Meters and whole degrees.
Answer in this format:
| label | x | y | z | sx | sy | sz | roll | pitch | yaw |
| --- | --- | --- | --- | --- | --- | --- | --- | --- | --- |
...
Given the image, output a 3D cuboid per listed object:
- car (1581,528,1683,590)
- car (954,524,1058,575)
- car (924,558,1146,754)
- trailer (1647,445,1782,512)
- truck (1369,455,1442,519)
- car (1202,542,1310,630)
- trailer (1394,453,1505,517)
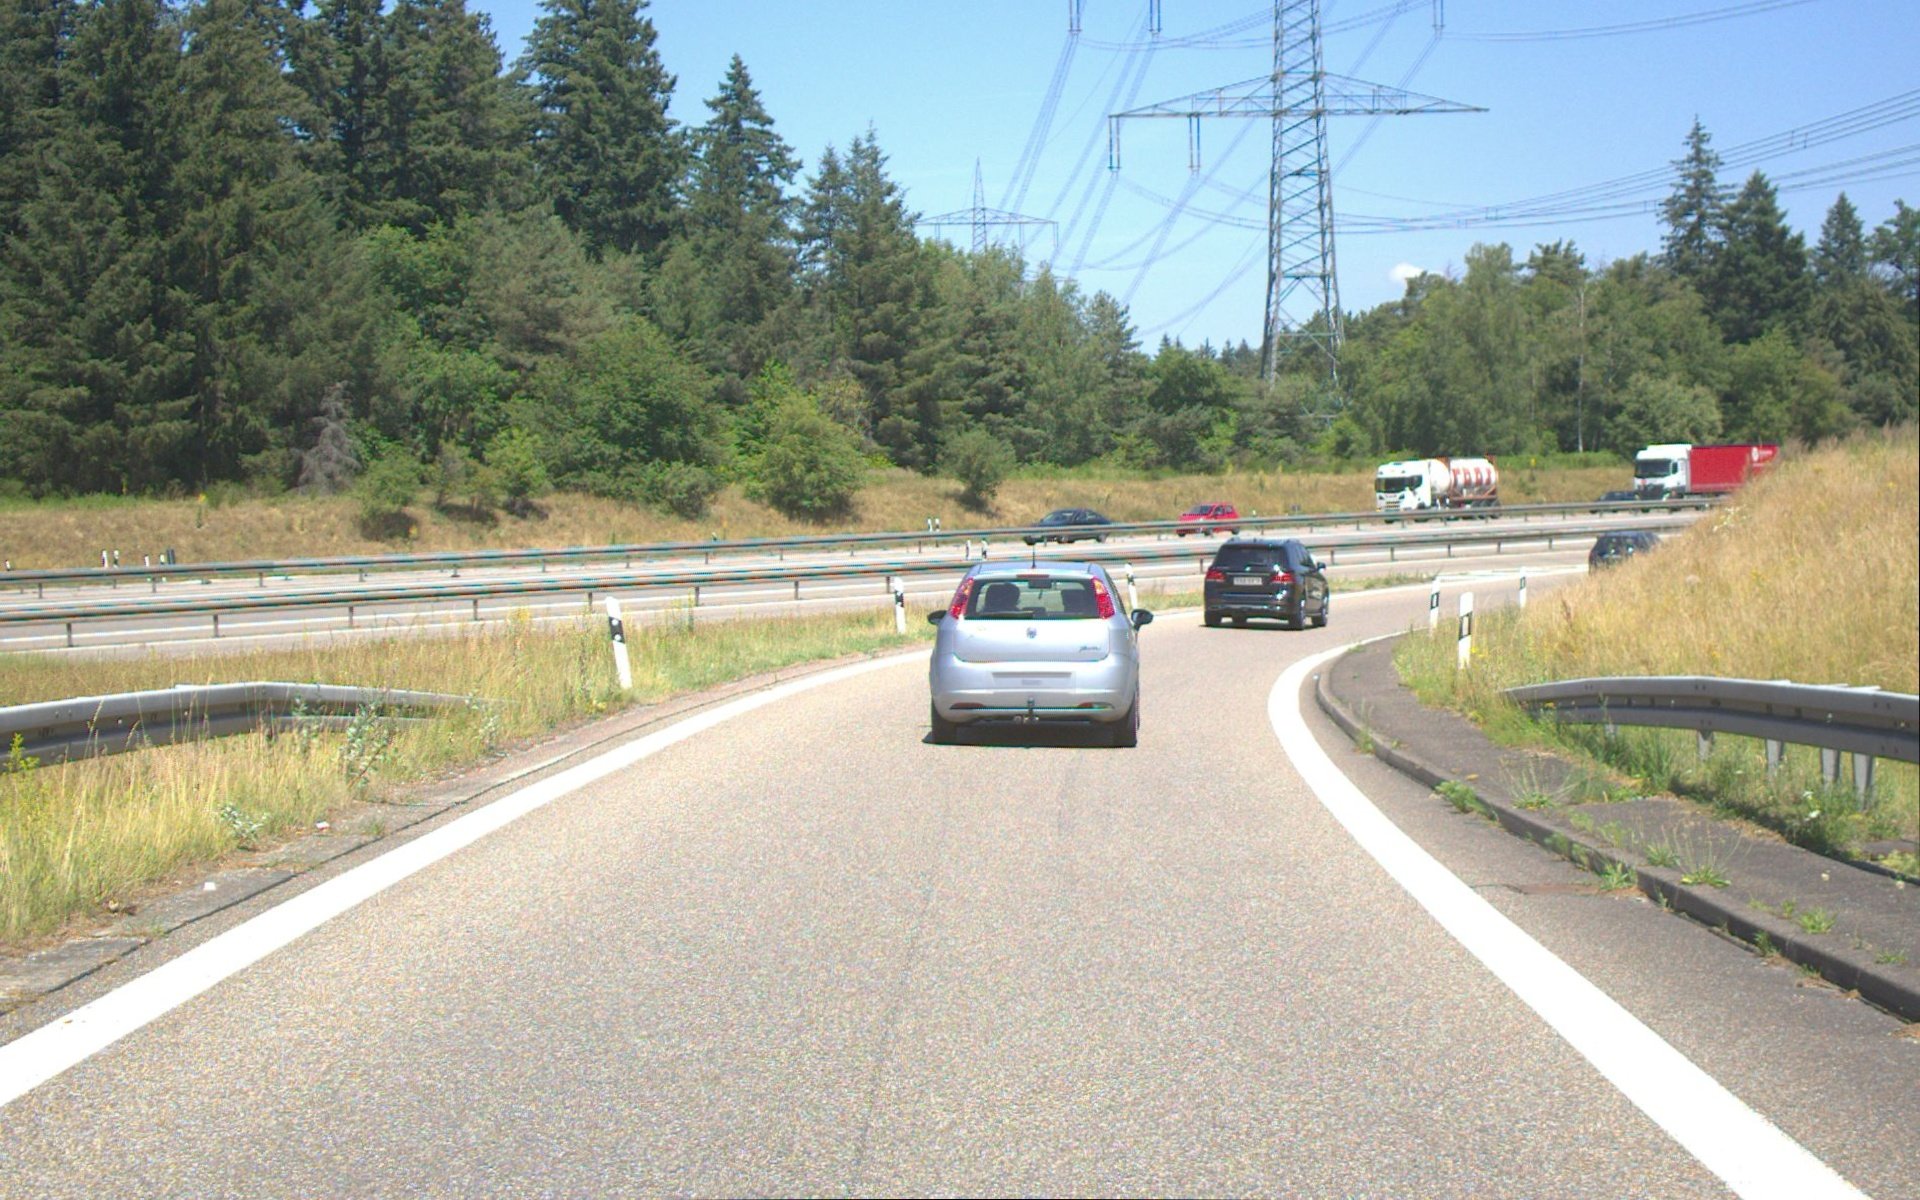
| label | x | y | z | sx | sy | sz | roll | pitch | yaw |
| --- | --- | --- | --- | --- | --- | --- | --- | --- | --- |
| car | 20.002 | -1.240 | 102.201 | 1.884 | 1.678 | 3.995 | -2 | 1 | 27 |
| car | 1.882 | -2.078 | 139.652 | 1.998 | 1.842 | 4.349 | 1 | 4 | 37 |
| car | 0.656 | 0.416 | 28.613 | 1.706 | 1.476 | 3.397 | 1 | 1 | 2 |
| trailer | 46.755 | -7.554 | 212.659 | 2.547 | 3.784 | 13.712 | 1 | 4 | 38 |
| truck | 27.347 | -6.940 | 210.737 | 2.774 | 3.784 | 3.992 | 1 | 4 | 38 |
| car | 5.837 | -0.300 | 67.537 | 1.707 | 1.670 | 3.396 | 1 | 1 | 12 |
| trailer | 30.650 | -7.236 | 214.985 | 2.778 | 3.784 | 8.918 | 1 | 4 | 38 |
